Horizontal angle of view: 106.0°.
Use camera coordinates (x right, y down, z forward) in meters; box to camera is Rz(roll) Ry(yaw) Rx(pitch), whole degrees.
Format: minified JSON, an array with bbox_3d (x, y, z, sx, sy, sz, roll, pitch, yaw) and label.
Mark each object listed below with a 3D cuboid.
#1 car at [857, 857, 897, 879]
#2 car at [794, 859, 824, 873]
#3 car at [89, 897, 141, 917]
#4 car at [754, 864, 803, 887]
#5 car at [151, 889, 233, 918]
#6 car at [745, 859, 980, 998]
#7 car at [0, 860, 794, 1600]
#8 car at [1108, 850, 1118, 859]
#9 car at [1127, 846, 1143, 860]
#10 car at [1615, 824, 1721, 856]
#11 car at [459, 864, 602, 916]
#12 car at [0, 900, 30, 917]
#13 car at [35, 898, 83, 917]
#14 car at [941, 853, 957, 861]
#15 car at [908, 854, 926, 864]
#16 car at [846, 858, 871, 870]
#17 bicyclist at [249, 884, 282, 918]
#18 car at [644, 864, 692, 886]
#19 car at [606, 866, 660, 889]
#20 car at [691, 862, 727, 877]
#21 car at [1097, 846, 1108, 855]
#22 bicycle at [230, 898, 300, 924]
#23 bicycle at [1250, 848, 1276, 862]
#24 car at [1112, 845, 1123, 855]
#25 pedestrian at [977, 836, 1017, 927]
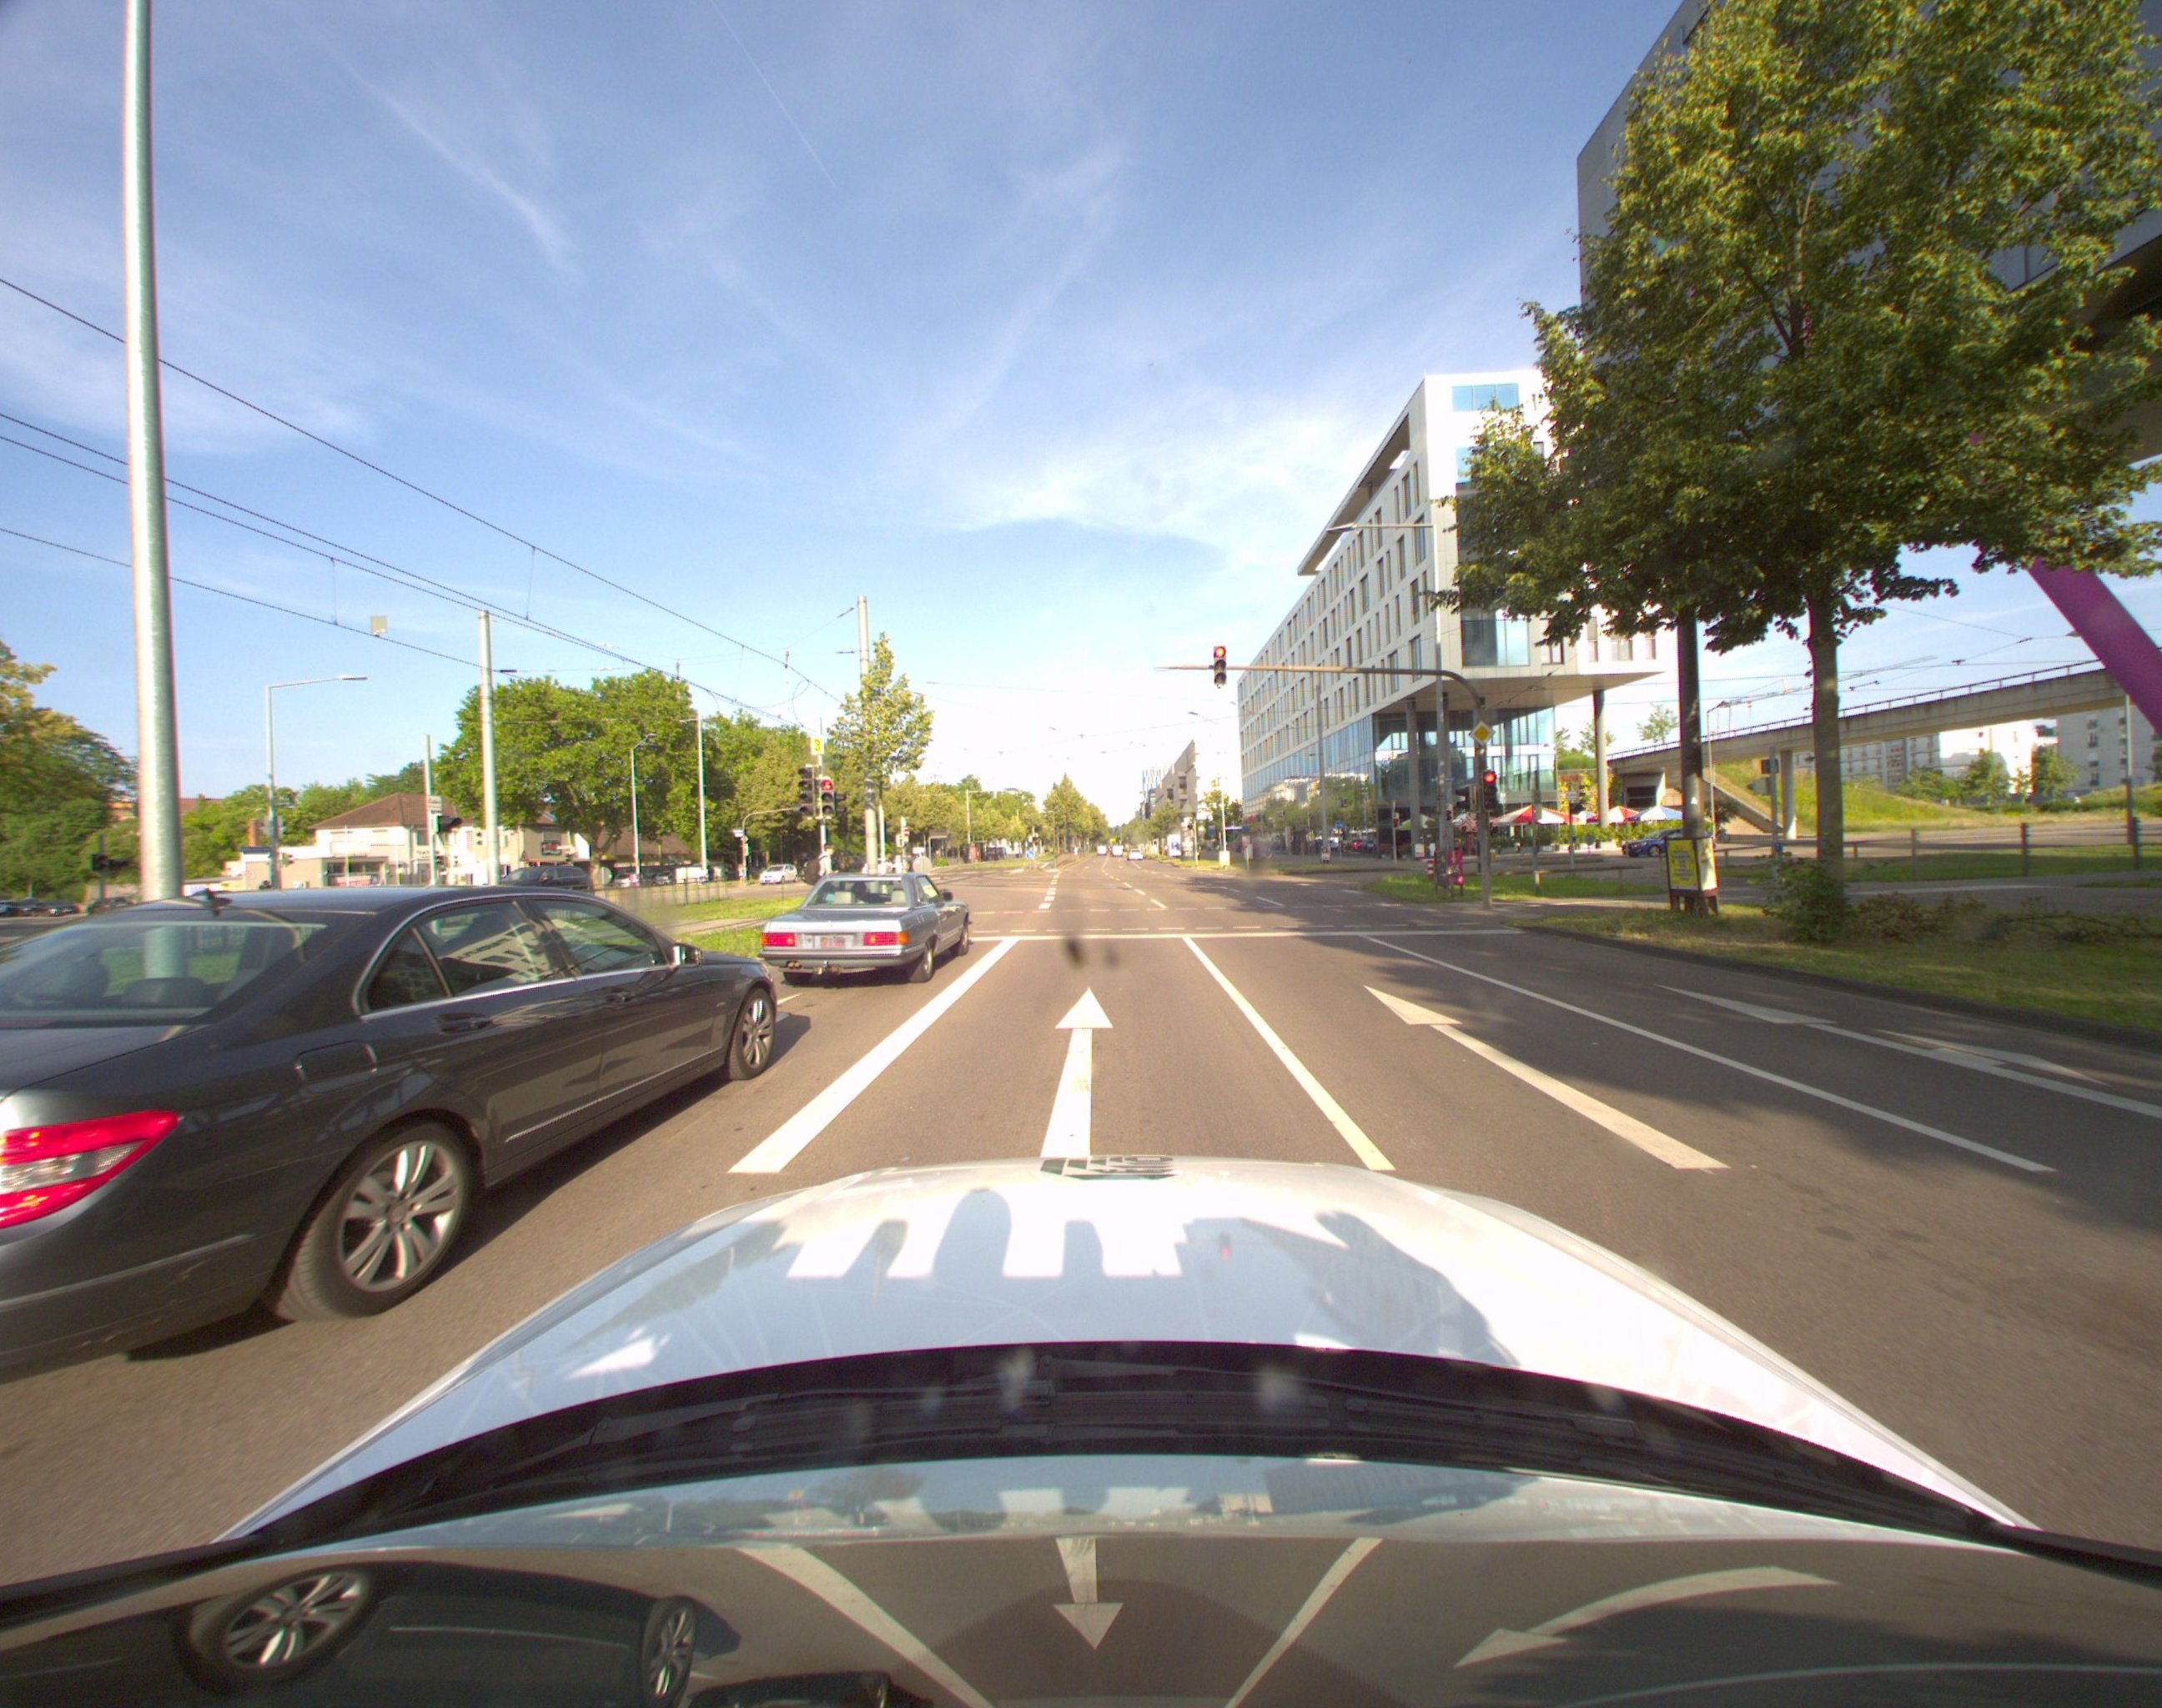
[{"bbox_3d":[-16.454,1.115,65.983,1.985,1.504,4.096,-3,1,3],"label":"car"},{"bbox_3d":[-33.846,1.498,101.418,1.871,1.559,4.009,-2,0,7],"label":"car"},{"bbox_3d":[-80.846,4.450,68.153,3.897,1.471,1.708,-2,0,24],"label":"car"},{"bbox_3d":[-22.818,1.611,61.568,1.869,1.527,4.228,-2,1,4],"label":"car"},{"bbox_3d":[-62.898,3.491,57.644,3.963,1.728,2.005,-2,0,9],"label":"car"},{"bbox_3d":[-2.535,0.790,10.629,1.757,1.330,4.401,0,1,1],"label":"car"},{"bbox_3d":[-3.121,0.826,3.923,1.780,1.478,4.356,0,1,2],"label":"car"},{"bbox_3d":[6.762,0.103,171.195,1.916,1.684,4.003,0,1,3],"label":"car"},{"bbox_3d":[6.747,-0.095,101.673,1.856,1.684,4.003,0,1,3],"label":"car"},{"bbox_3d":[30.762,-0.715,42.770,4.169,1.424,1.860,-3,1,1],"label":"car"},{"bbox_3d":[-21.819,1.363,32.587,1.984,1.684,5.001,-2,1,4],"label":"car"},{"bbox_3d":[-101.996,5.219,77.372,3.897,1.471,1.708,-2,0,24],"label":"car"},{"bbox_3d":[-91.338,4.775,72.799,3.897,1.471,1.708,-2,0,24],"label":"car"},{"bbox_3d":[-26.266,0.541,162.182,1.871,1.559,4.009,-2,0,7],"label":"car"},{"bbox_3d":[-28.552,0.893,141.808,1.871,1.559,4.009,-2,0,7],"label":"car"},{"bbox_3d":[-31.776,1.468,116.397,1.871,1.559,4.009,-2,0,7],"label":"car"},{"bbox_3d":[-38.335,2.189,38.282,0.850,1.493,0.695,-2,0,-21],"label":"bicyclist"},{"bbox_3d":[-36.987,1.853,73.037,1.871,1.750,4.009,-2,0,7],"label":"car"},{"bbox_3d":[-37.533,1.928,68.289,1.871,1.750,4.009,-2,0,7],"label":"car"},{"bbox_3d":[-42.926,1.719,94.036,1.871,1.559,4.009,-2,0,7],"label":"car"},{"bbox_3d":[4.324,-0.700,164.622,2.006,1.684,4.003,0,1,3],"label":"car"},{"bbox_3d":[-38.330,2.647,38.275,2.203,1.041,0.695,-2,0,-21],"label":"bicycle"},{"bbox_3d":[14.422,0.045,64.528,0.778,1.032,1.856,-2,3,-41],"label":"bicycle"},{"bbox_3d":[6.366,-0.752,142.023,1.856,1.684,4.003,0,1,3],"label":"car"},{"bbox_3d":[-1.696,0.535,16.460,0.697,1.792,0.636,-1,0,2],"label":"pedestrian"}]
